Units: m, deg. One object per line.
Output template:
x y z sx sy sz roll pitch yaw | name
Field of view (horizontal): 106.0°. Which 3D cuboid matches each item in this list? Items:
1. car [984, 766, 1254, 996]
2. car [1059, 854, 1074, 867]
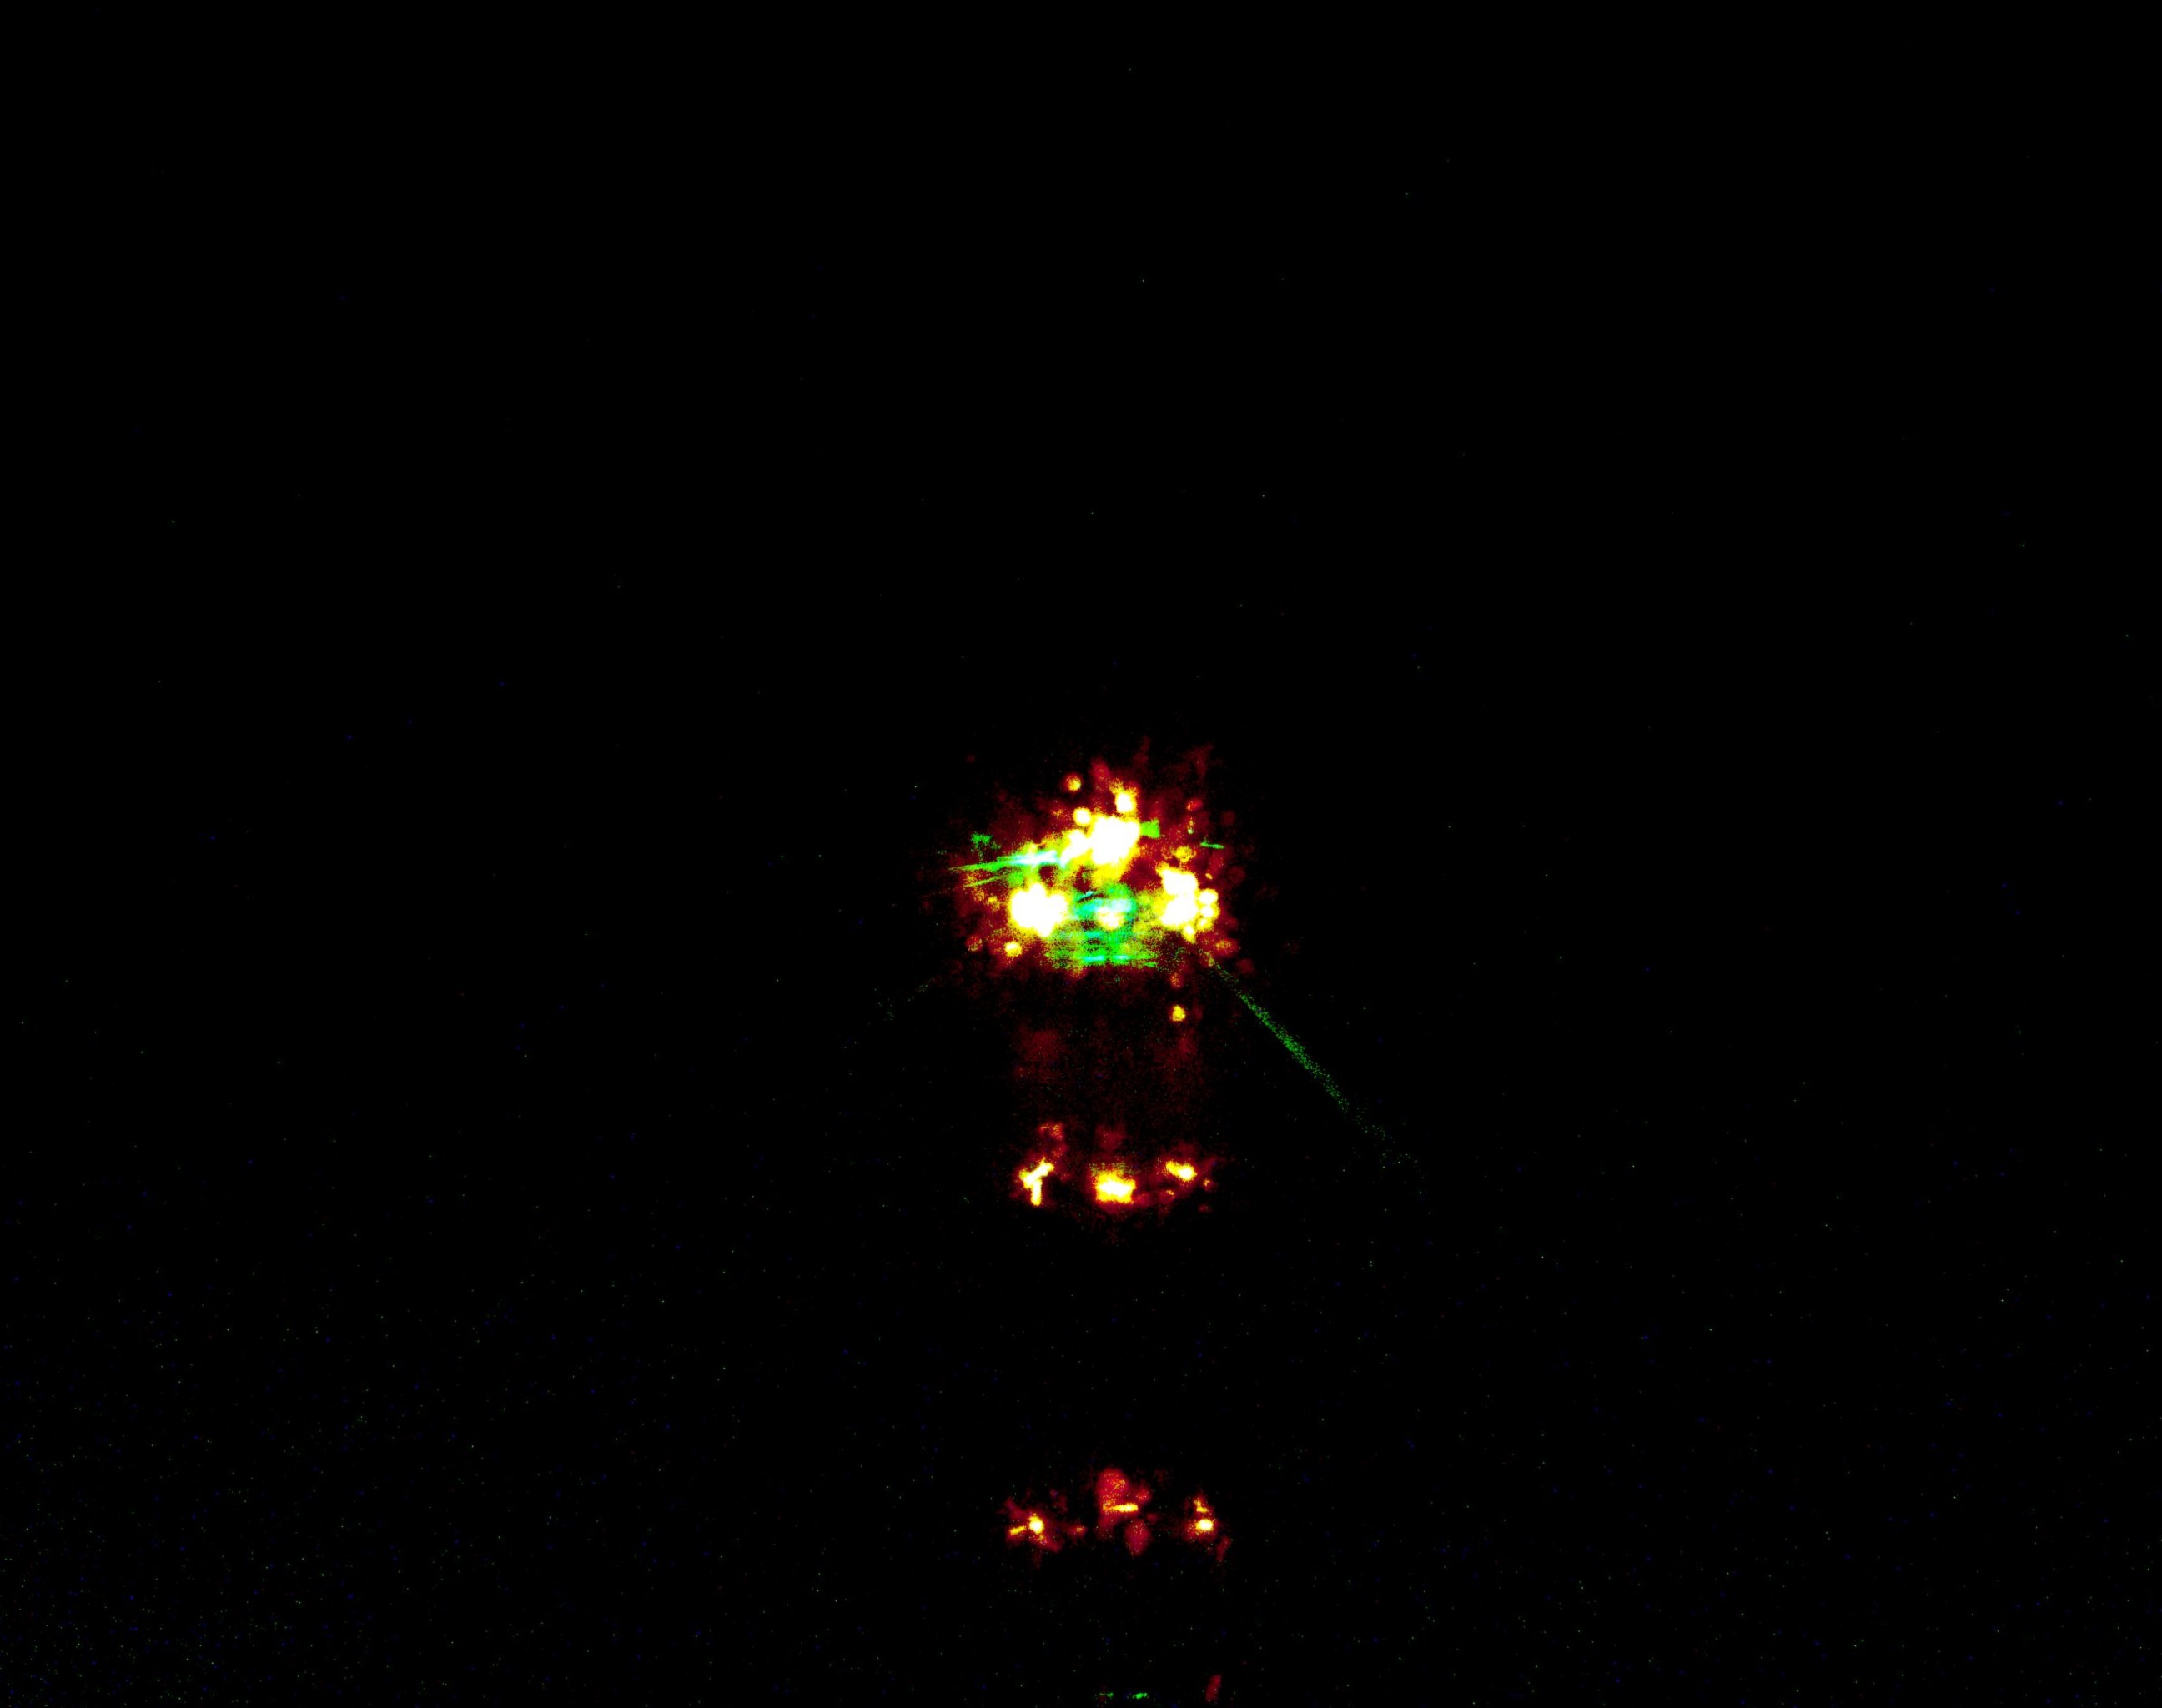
0.469 0.261 11.305 2.705 2.307 6.102 -1 0 1 | car
-1.713 0.743 99.312 1.537 1.510 3.884 0 0 4 | car
